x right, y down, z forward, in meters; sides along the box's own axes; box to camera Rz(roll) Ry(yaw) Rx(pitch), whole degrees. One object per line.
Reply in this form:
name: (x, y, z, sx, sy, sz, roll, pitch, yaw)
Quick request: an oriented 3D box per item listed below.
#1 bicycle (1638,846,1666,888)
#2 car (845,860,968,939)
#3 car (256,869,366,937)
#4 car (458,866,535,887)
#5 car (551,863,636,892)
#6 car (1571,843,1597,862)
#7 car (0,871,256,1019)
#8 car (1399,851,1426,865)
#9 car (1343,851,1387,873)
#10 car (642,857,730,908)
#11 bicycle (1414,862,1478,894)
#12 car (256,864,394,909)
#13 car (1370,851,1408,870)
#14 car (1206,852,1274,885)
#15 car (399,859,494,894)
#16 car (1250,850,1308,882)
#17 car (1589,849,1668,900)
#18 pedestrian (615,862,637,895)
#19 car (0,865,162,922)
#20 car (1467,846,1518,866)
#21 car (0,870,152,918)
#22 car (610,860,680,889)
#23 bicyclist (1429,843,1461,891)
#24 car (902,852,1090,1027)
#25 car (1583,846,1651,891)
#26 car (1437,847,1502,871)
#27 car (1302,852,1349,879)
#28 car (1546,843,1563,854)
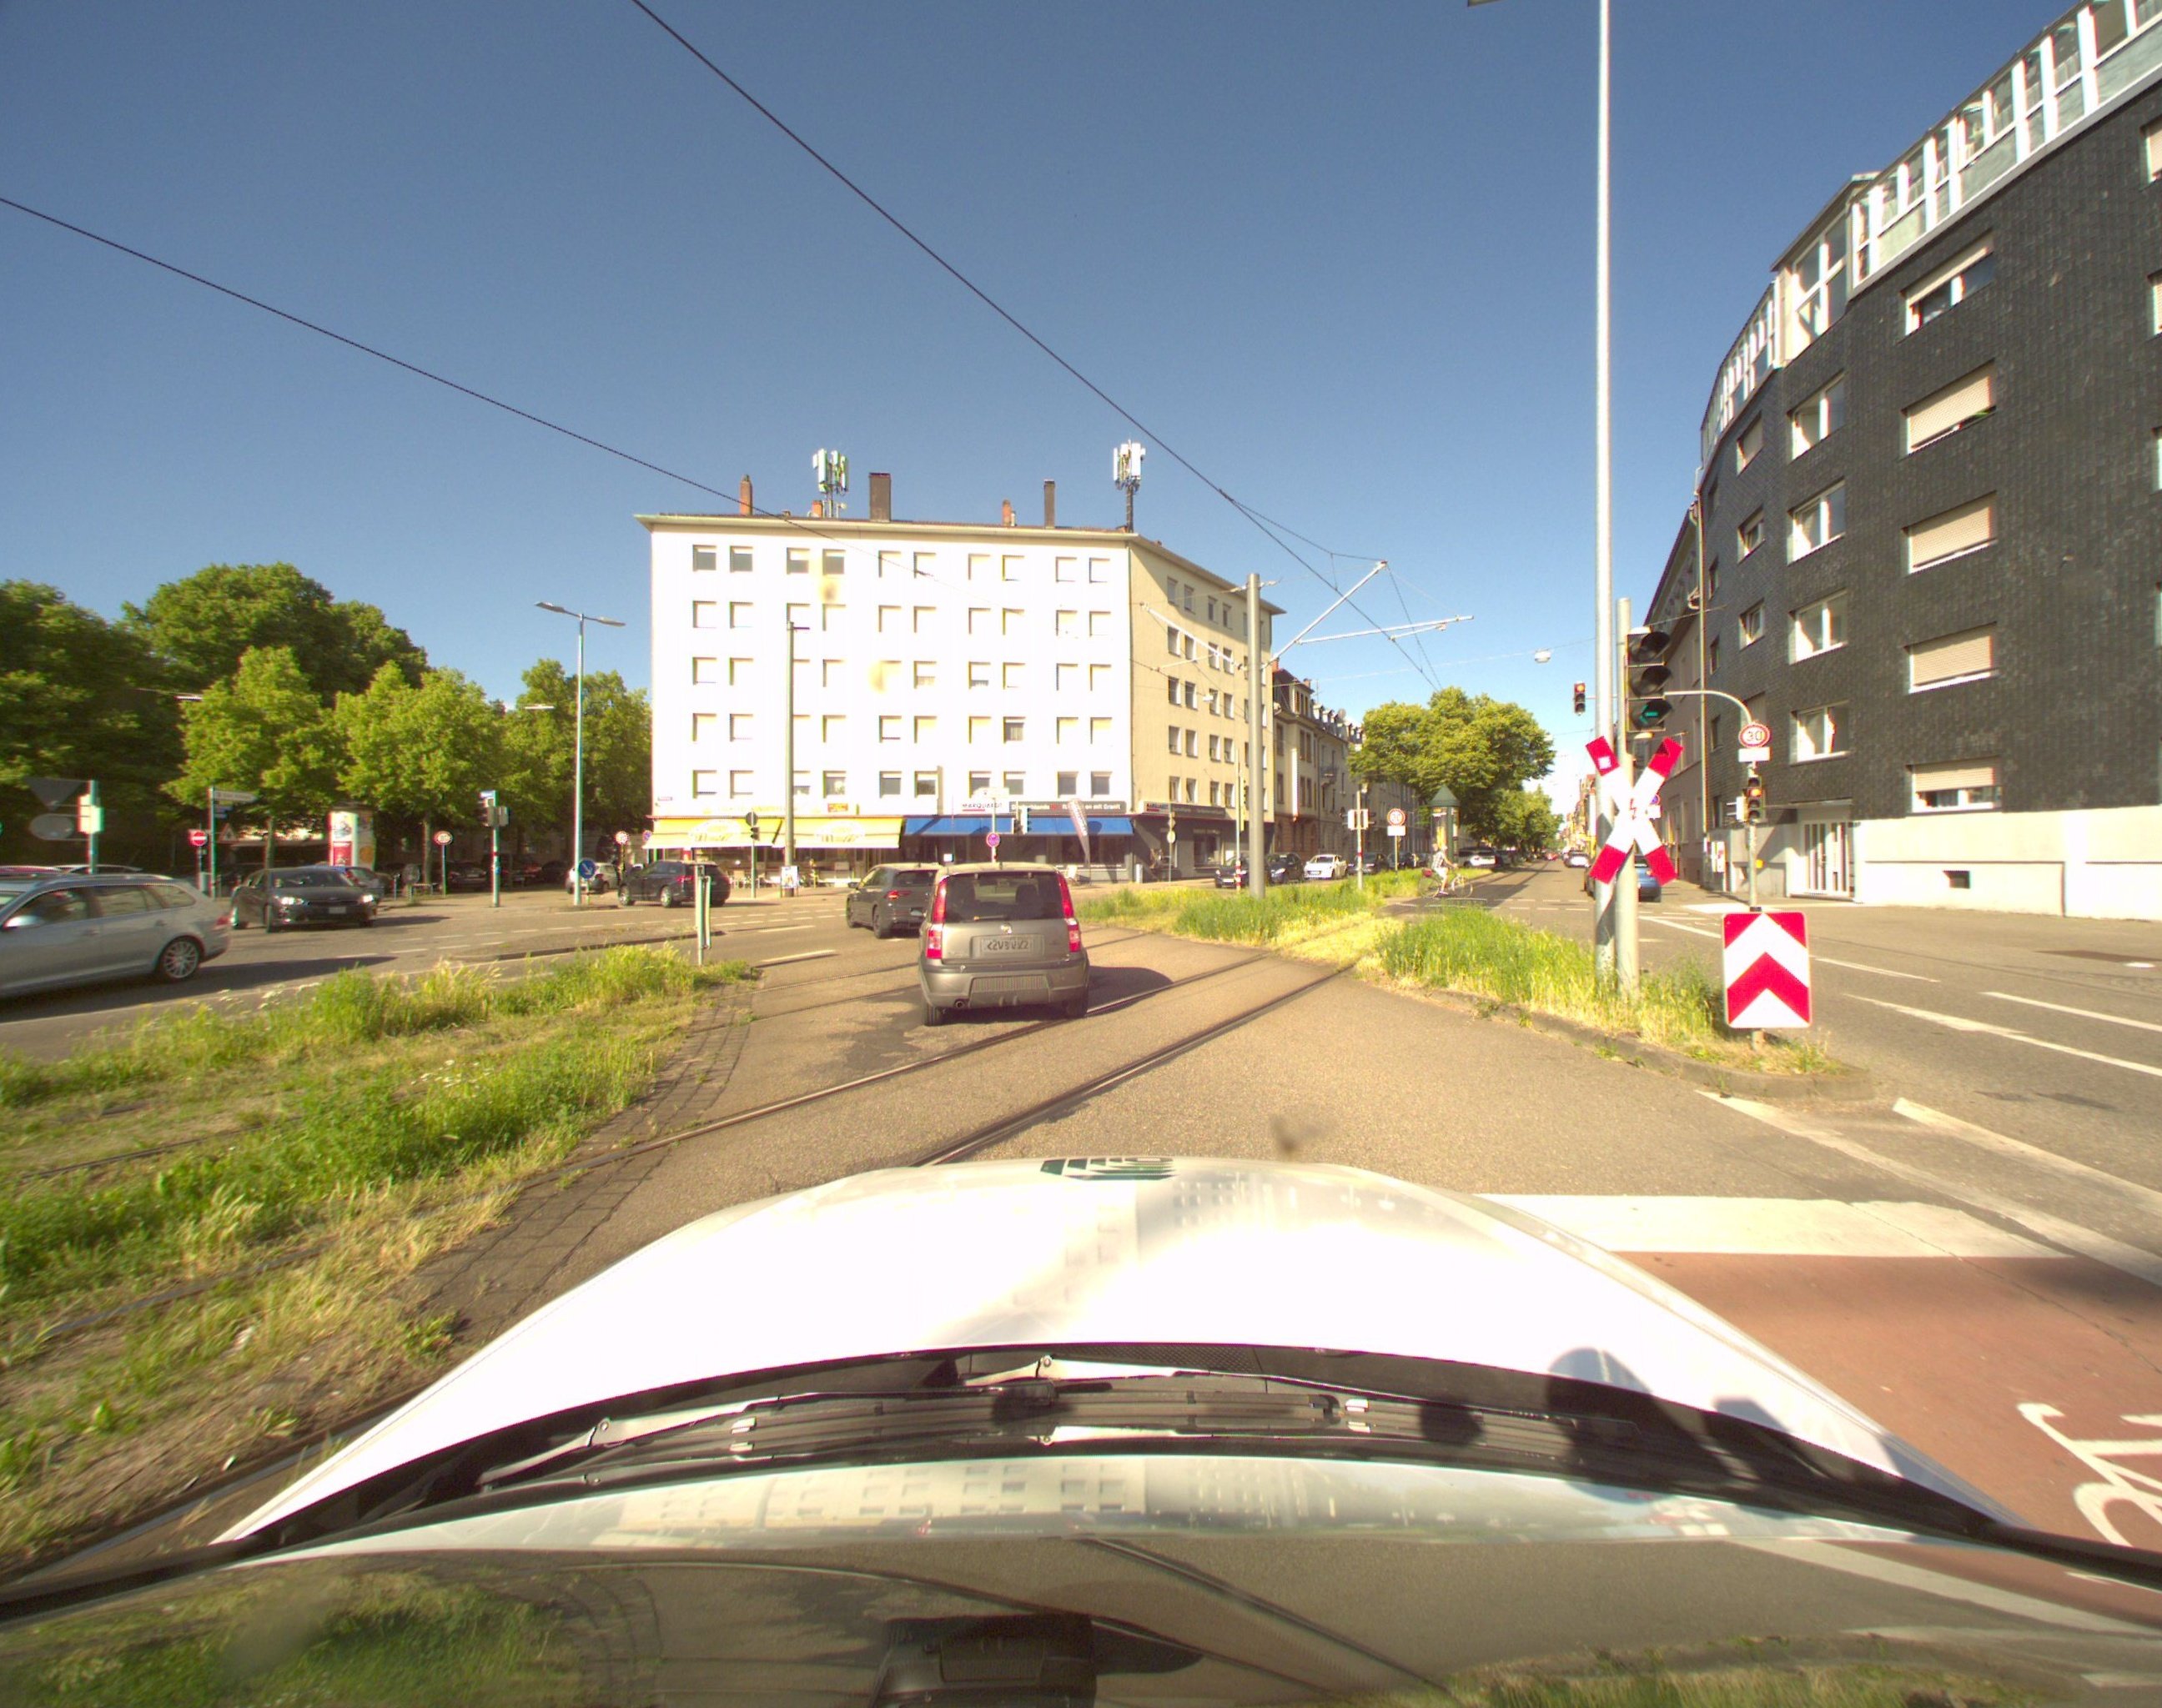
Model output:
bicycle: (21.498, 0.450, 30.691, 0.567, 1.511, 2.825, -1, 0, 30)
car: (-3.755, 0.861, 17.094, 1.630, 1.429, 3.655, -1, 0, -27)
car: (-18.406, 1.084, 19.414, 4.097, 1.391, 1.675, -1, 0, 43)
car: (-35.372, 1.351, 49.304, 1.646, 1.190, 3.465, -1, 0, 38)
car: (-24.086, 1.126, 40.447, 1.989, 1.310, 3.995, -1, 0, -4)
car: (45.978, -0.088, 74.434, 1.974, 1.618, 4.025, 0, -1, 32)
car: (-12.430, 0.997, 9.322, 1.730, 1.442, 4.864, 1, 0, -11)
car: (33.857, 0.436, 83.187, 1.974, 1.395, 4.025, -1, 0, 30)
car: (19.556, 0.509, 55.938, 1.974, 1.473, 4.025, -1, 0, 33)
car: (-12.835, 0.862, 26.336, 1.774, 1.486, 4.245, 0, 0, -37)
bicycle: (12.004, 0.785, 26.810, 1.842, 1.032, 0.590, -1, 0, 5)
car: (-25.787, 1.098, 27.838, 3.367, 1.438, 1.654, -1, 0, 6)
car: (24.281, 0.507, 64.084, 1.974, 1.487, 4.025, -1, 0, 33)
car: (7.202, 0.618, 36.664, 1.773, 1.396, 3.748, -1, 0, 31)
car: (-31.455, 1.076, 40.448, 3.297, 1.602, 1.665, -1, 0, -11)
car: (10.199, 0.603, 41.746, 1.773, 1.565, 3.790, -1, 0, 32)
car: (17.050, 0.584, 25.509, 1.758, 1.442, 3.641, 0, 1, 29)
pedestrian: (-22.453, 1.198, 40.219, 0.794, 1.621, 0.824, -1, 0, -19)
car: (-29.035, 1.088, 22.642, 4.525, 1.489, 1.751, -1, 0, -8)
car: (37.280, 0.172, 73.865, 3.771, 1.786, 1.852, -1, 0, 43)
car: (-39.522, 1.498, 31.772, 1.755, 1.617, 4.225, 0, 0, -1)
car: (-24.754, 1.117, 46.370, 1.931, 1.513, 3.936, -1, 0, -2)
bicyclist: (11.973, 0.412, 26.816, 0.817, 1.559, 0.563, -1, 0, 5)
car: (-0.961, 0.754, 8.881, 1.659, 1.510, 3.242, -1, 0, -8)
car: (19.536, 0.498, 29.814, 1.802, 1.508, 4.025, -1, 0, 30)
car: (27.058, 0.325, 56.877, 1.909, 1.594, 3.978, -1, 0, -16)
car: (14.372, 0.663, 47.793, 1.773, 1.483, 3.554, -1, 0, 31)
car: (78.223, -0.860, 134.457, 1.974, 1.800, 4.026, -1, 0, 35)
